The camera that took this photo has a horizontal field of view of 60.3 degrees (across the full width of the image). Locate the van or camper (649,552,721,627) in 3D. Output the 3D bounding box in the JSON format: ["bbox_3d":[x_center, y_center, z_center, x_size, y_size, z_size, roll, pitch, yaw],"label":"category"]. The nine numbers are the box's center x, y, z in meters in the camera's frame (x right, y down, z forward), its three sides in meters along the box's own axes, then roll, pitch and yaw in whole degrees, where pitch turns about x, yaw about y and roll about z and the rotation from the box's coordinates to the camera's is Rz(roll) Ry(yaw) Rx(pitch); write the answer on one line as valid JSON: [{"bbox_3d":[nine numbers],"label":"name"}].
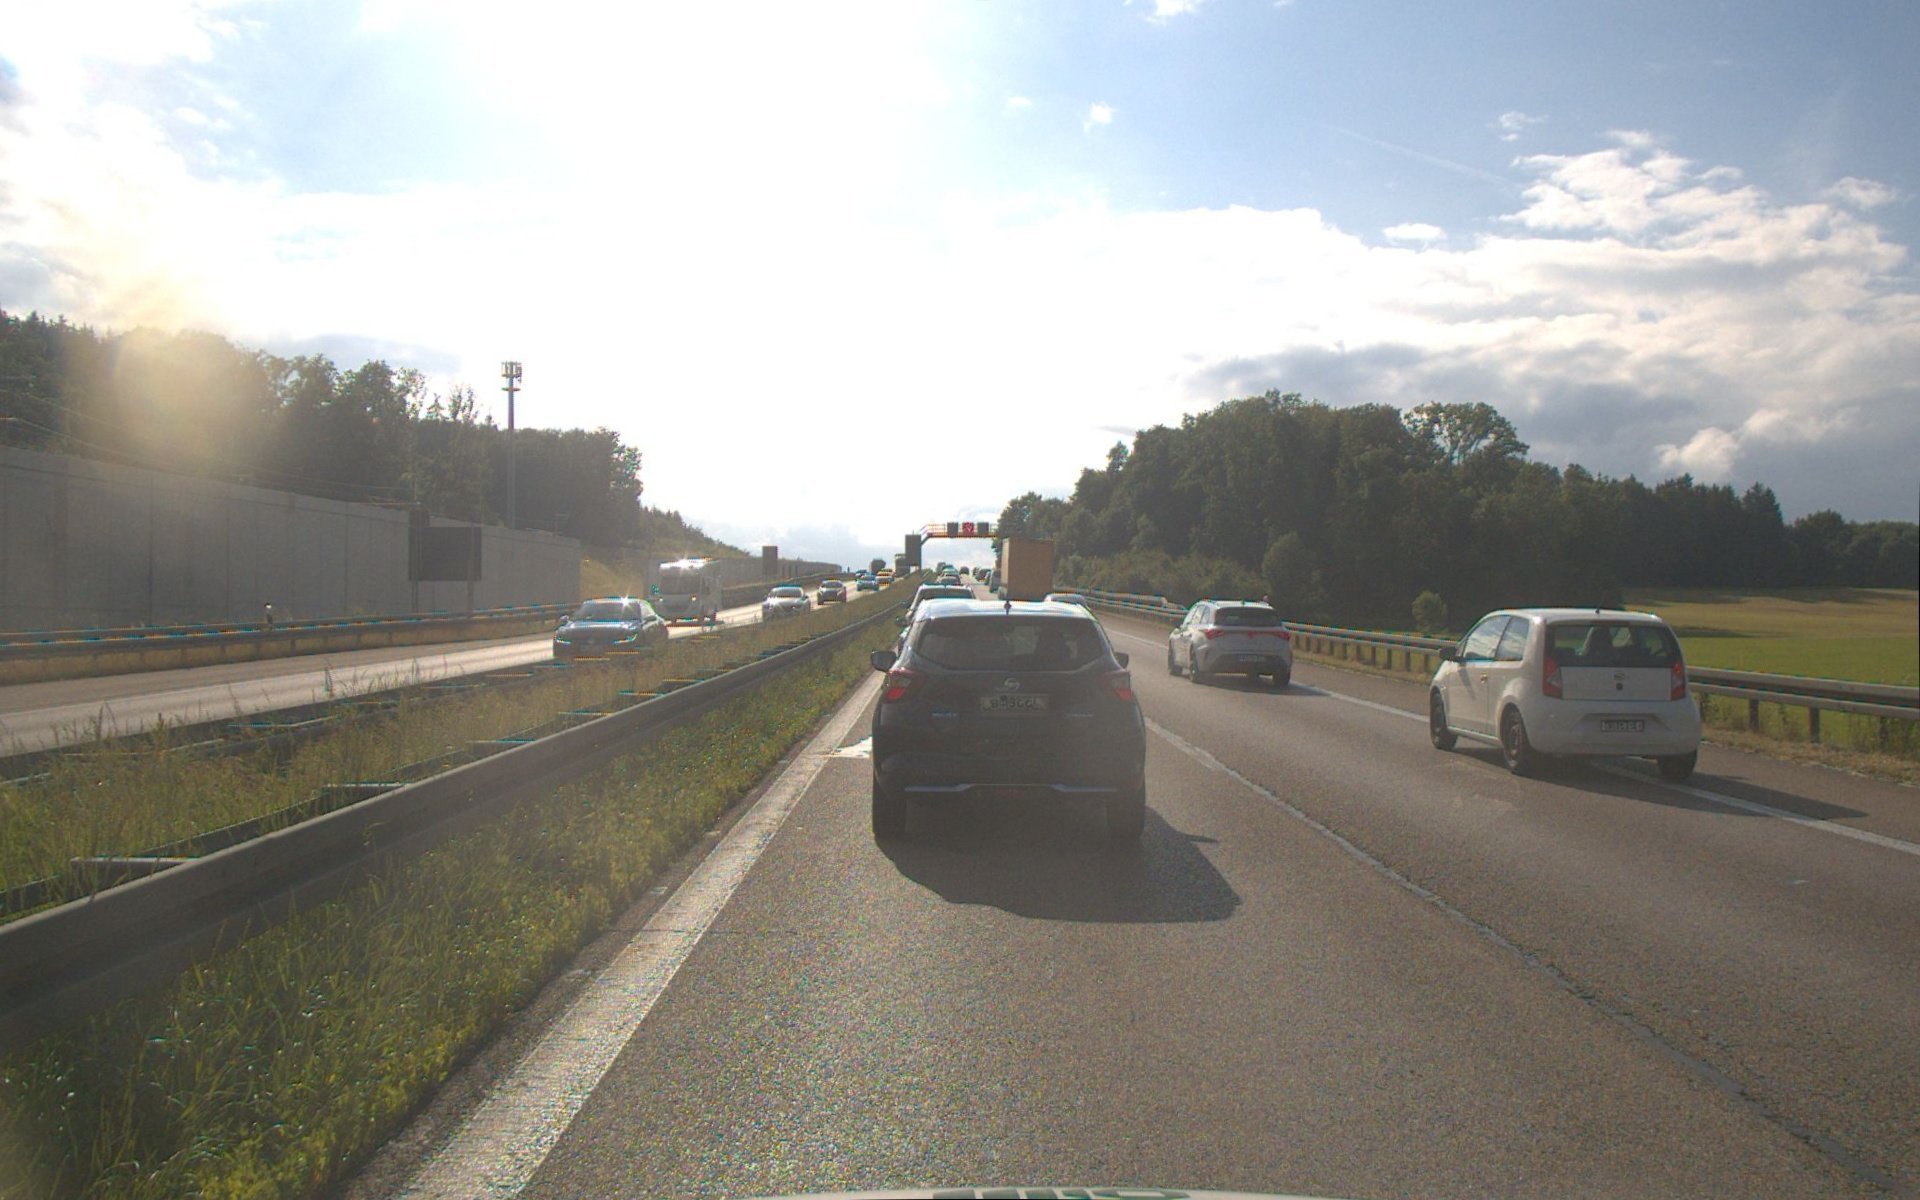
[{"bbox_3d":[-12.197,-0.420,73.800,2.180,3.133,6.511,1,0,-1],"label":"van or camper"}]

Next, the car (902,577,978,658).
[{"bbox_3d":[-0.419,0.402,38.414,1.639,1.756,3.596,1,-1,1],"label":"car"}]

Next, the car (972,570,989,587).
[{"bbox_3d":[2.516,-2.619,203.479,1.953,2.049,3.999,1,0,-1],"label":"car"}]

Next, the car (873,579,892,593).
[{"bbox_3d":[-8.698,-1.558,186.213,1.953,1.458,4.448,1,0,-1],"label":"car"}]

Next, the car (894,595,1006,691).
[{"bbox_3d":[-0.130,0.653,26.353,1.639,1.391,3.596,1,-1,1],"label":"car"}]

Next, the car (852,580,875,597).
[{"bbox_3d":[-9.143,-1.094,156.799,1.953,1.458,4.448,1,0,-1],"label":"car"}]

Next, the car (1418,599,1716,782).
[{"bbox_3d":[5.677,0.776,15.874,1.517,1.521,3.377,1,0,-2],"label":"car"}]

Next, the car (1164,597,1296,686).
[{"bbox_3d":[4.832,0.722,30.094,1.588,1.471,4.145,1,-1,-2],"label":"car"}]

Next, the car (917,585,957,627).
[{"bbox_3d":[-1.178,0.324,84.503,1.953,2.049,3.999,1,0,-1],"label":"car"}]

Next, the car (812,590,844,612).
[{"bbox_3d":[-8.807,0.087,110.718,1.816,1.458,4.448,1,0,-1],"label":"car"}]

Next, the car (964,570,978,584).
[{"bbox_3d":[1.646,-3.481,250.445,1.953,2.049,3.999,1,0,-1],"label":"car"}]

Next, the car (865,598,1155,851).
[{"bbox_3d":[0.330,0.741,11.367,1.675,1.451,3.378,1,-1,1],"label":"car"}]

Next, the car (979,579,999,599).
[{"bbox_3d":[3.162,-1.211,180.797,1.953,2.049,3.999,1,0,-1],"label":"car"}]

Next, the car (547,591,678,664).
[{"bbox_3d":[-7.441,0.577,35.859,1.953,1.458,4.448,1,0,-1],"label":"car"}]

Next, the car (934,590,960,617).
[{"bbox_3d":[-1.007,0.311,129.542,1.953,2.049,3.999,1,0,-1],"label":"car"}]

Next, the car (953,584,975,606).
[{"bbox_3d":[0.360,-0.459,158.735,1.953,2.049,3.999,1,0,-1],"label":"car"}]

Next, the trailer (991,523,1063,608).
[{"bbox_3d":[3.784,-1.849,97.001,3.476,4.535,12.719,1,0,-1],"label":"trailer"}]

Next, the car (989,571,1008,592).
[{"bbox_3d":[3.410,-1.645,146.742,1.632,1.785,3.327,1,-1,1],"label":"car"}]

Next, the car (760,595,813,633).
[{"bbox_3d":[-7.795,0.616,74.555,1.953,1.621,4.448,1,0,-1],"label":"car"}]

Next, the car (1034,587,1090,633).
[{"bbox_3d":[3.461,0.347,56.674,1.711,1.501,4.147,1,-1,1],"label":"car"}]
